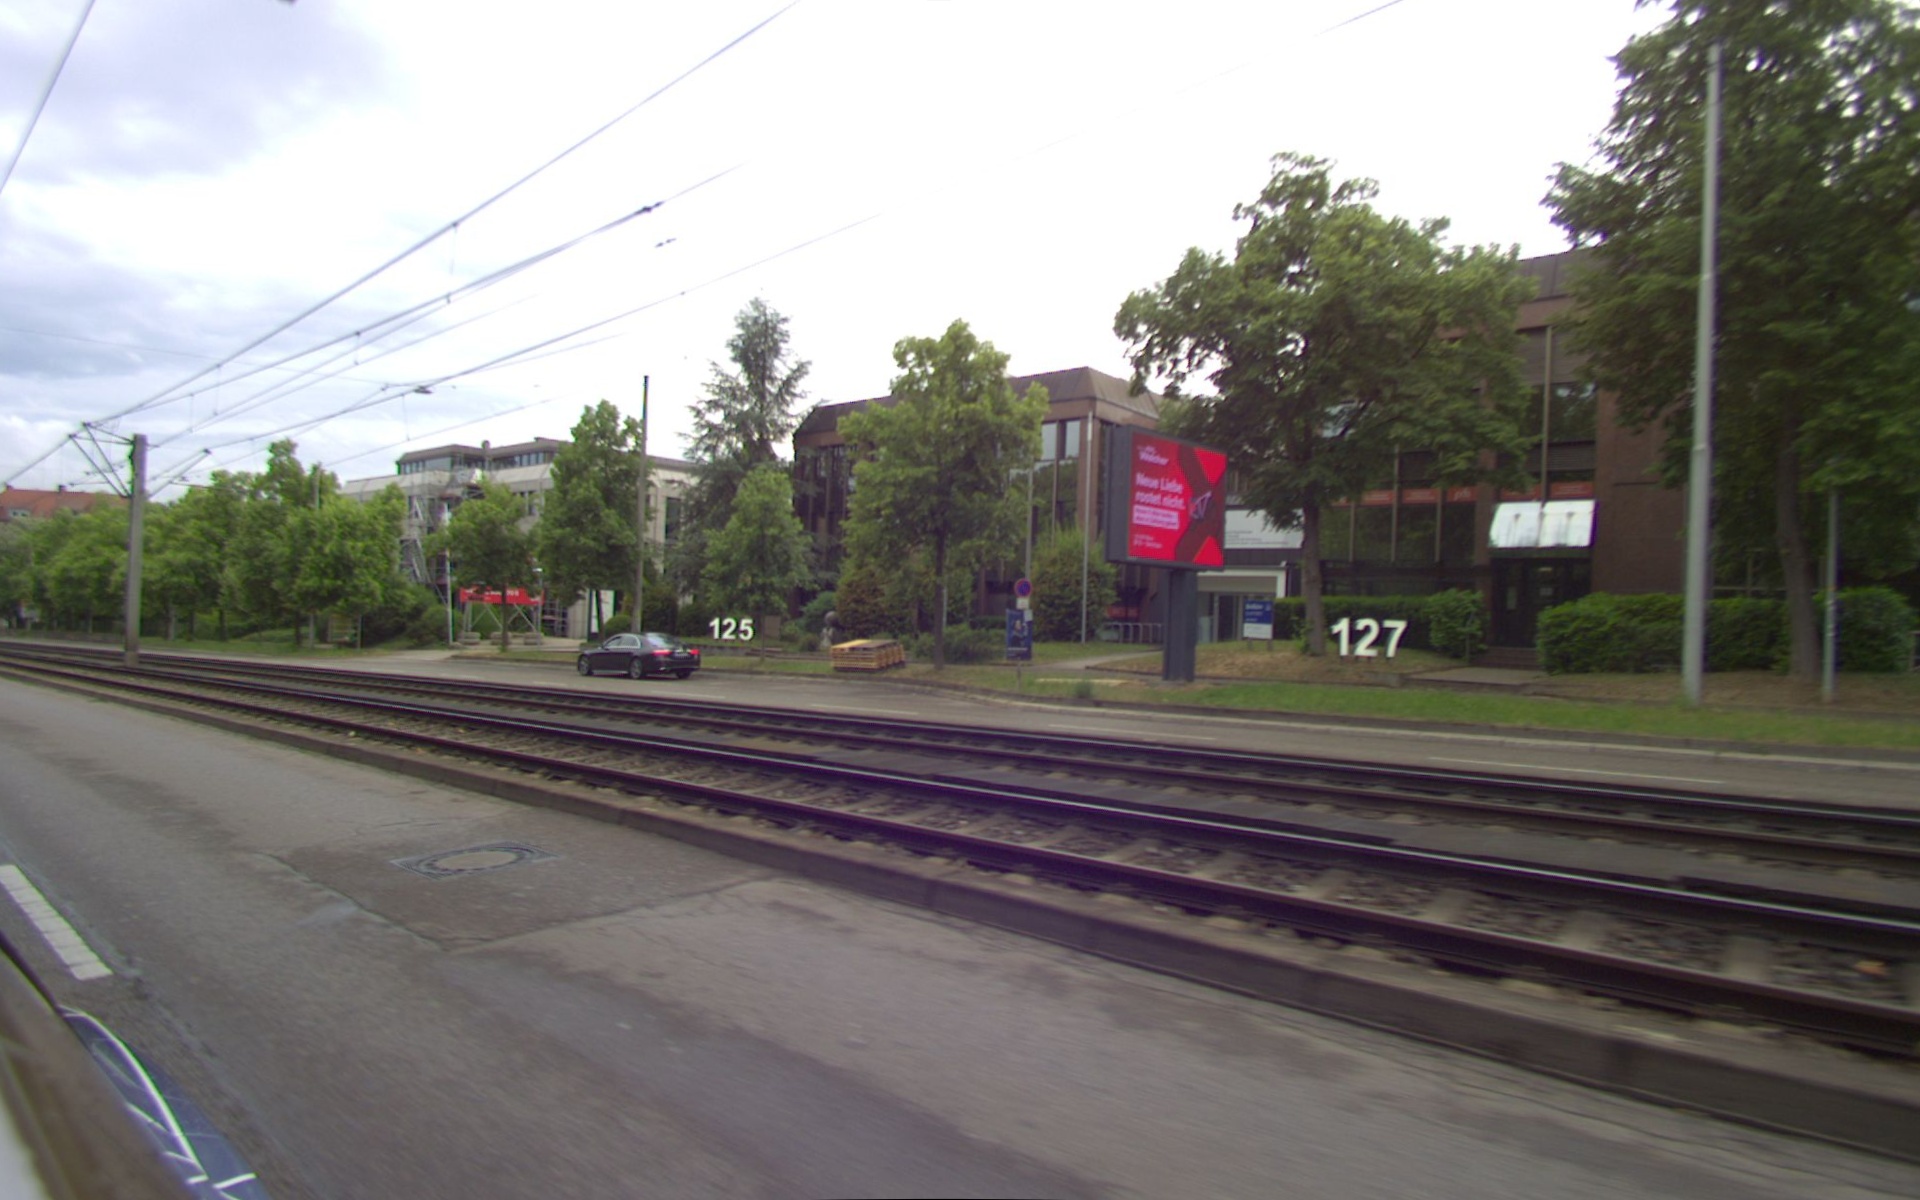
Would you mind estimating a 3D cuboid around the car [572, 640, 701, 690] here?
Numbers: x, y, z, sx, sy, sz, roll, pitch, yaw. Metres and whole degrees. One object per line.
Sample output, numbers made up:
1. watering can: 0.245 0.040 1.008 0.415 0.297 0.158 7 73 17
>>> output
1. car: -10.645 2.077 33.182 4.616 1.542 1.777 -2 -3 39
